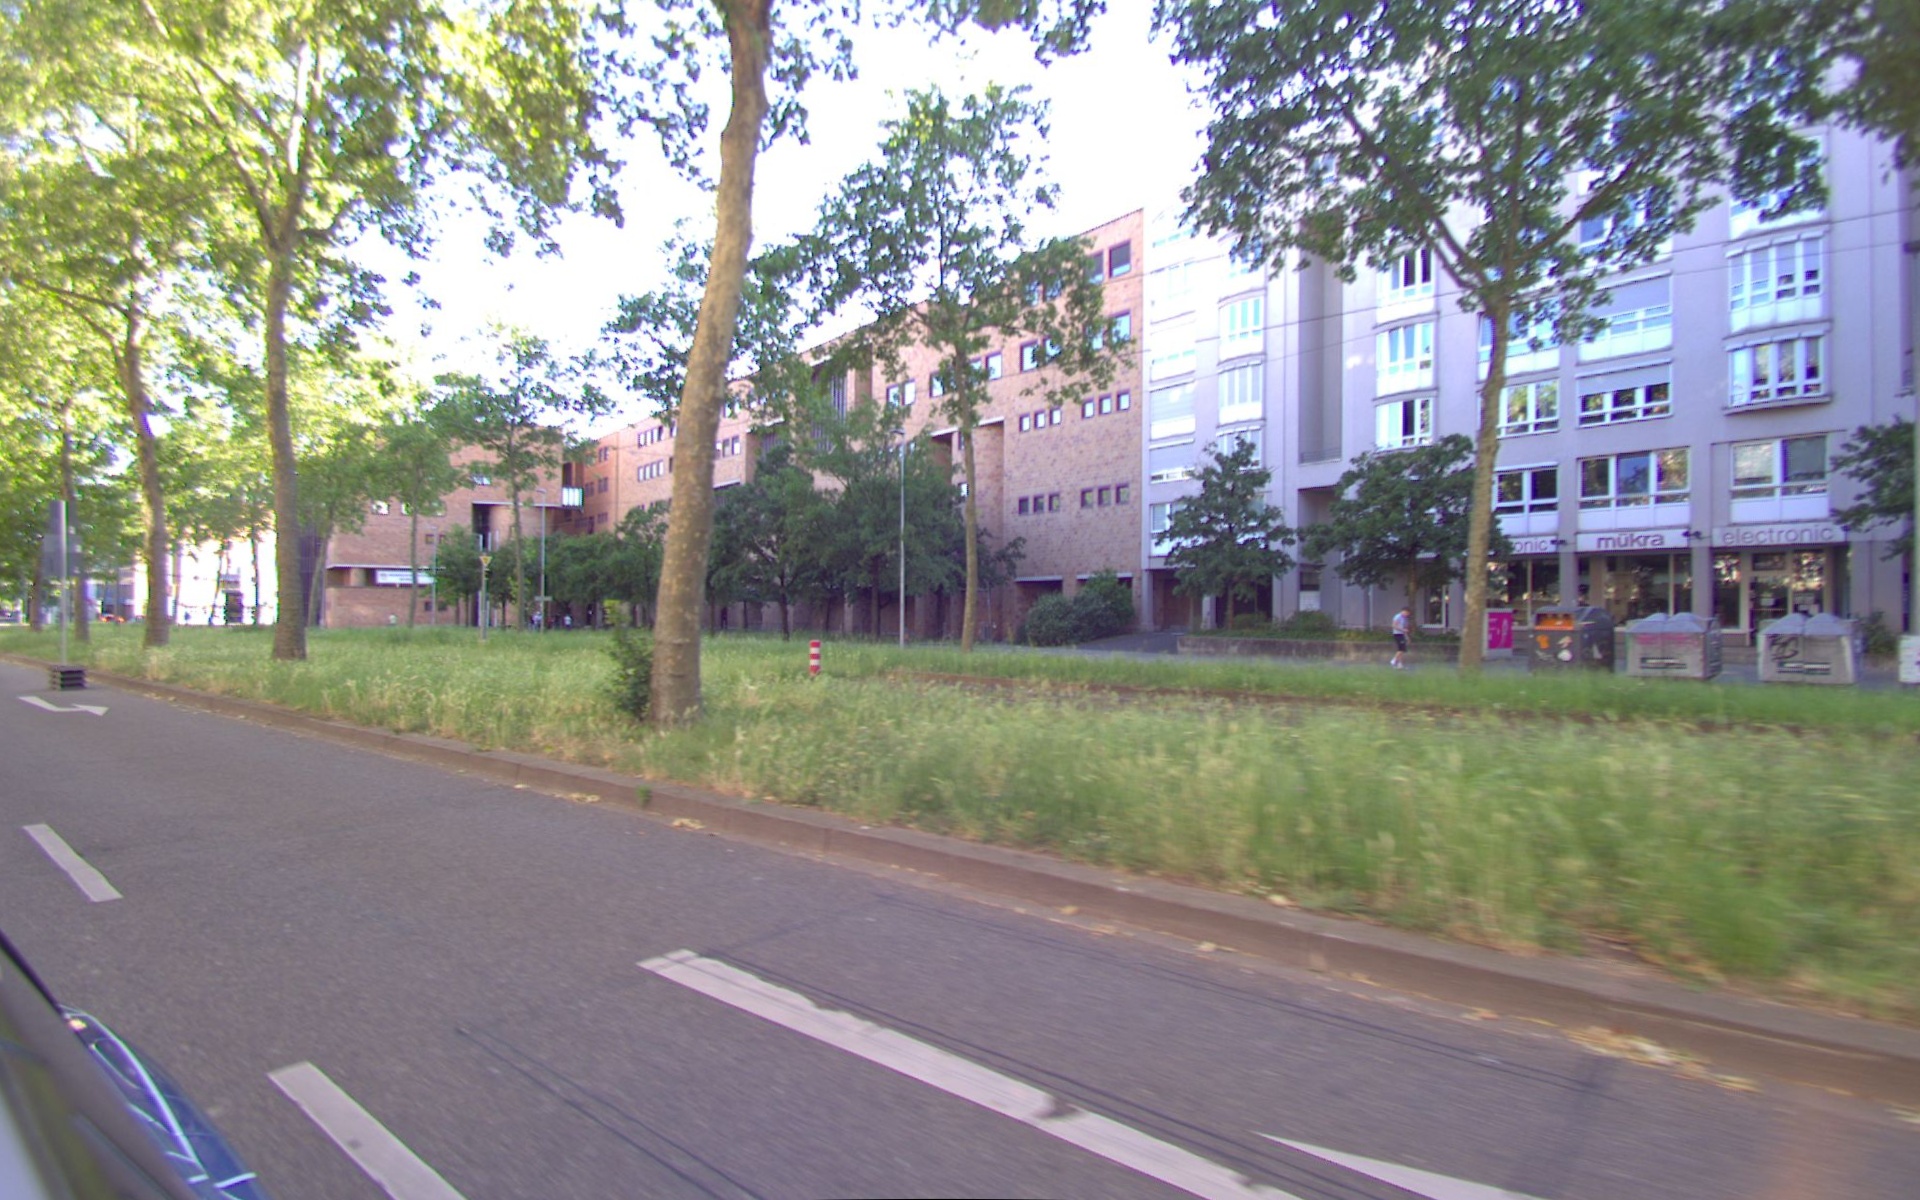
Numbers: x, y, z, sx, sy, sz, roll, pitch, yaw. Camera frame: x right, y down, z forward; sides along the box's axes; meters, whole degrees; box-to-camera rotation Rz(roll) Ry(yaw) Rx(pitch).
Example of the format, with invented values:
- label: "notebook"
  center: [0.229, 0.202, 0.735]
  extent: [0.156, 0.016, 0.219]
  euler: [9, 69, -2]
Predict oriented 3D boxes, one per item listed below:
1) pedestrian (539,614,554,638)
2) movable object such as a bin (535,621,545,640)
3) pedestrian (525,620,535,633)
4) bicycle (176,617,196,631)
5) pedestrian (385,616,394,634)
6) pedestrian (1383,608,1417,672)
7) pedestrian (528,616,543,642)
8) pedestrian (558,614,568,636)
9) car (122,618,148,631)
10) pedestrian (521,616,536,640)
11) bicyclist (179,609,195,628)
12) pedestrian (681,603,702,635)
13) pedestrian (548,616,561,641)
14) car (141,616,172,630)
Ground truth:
- label: "pedestrian"
  center: [-28.143, 1.748, 68.908]
  extent: [0.756, 1.629, 0.657]
  euler: [-1, -2, 41]
- label: "movable object such as a bin"
  center: [-28.174, 2.030, 67.860]
  extent: [0.756, 1.289, 0.352]
  euler: [-1, -2, 41]
- label: "pedestrian"
  center: [-39.950, 2.460, 94.056]
  extent: [0.628, 1.207, 0.659]
  euler: [-1, -1, 32]
- label: "bicycle"
  center: [-66.256, 2.031, 86.657]
  extent: [2.436, 1.134, 0.946]
  euler: [0, -1, 42]
- label: "pedestrian"
  center: [-49.041, 2.117, 86.963]
  extent: [0.652, 1.555, 0.412]
  euler: [-1, -2, 39]
- label: "pedestrian"
  center: [12.283, 1.107, 28.264]
  extent: [0.720, 1.753, 0.648]
  euler: [1, -2, -45]
- label: "pedestrian"
  center: [-28.716, 1.964, 68.433]
  extent: [0.796, 1.735, 0.657]
  euler: [-1, -2, 41]
- label: "pedestrian"
  center: [-27.226, 1.711, 69.427]
  extent: [0.463, 1.517, 0.477]
  euler: [-1, -2, 43]
- label: "car"
  center: [-89.786, 2.664, 110.122]
  extent: [3.219, 1.440, 1.596]
  euler: [-1, -2, 41]
- label: "pedestrian"
  center: [-29.641, 1.909, 69.467]
  extent: [0.756, 1.629, 0.657]
  euler: [-1, -2, 41]
- label: "bicyclist"
  center: [-66.075, 1.581, 86.503]
  extent: [1.209, 1.583, 0.931]
  euler: [-1, -2, 42]
- label: "pedestrian"
  center: [-15.464, 1.085, 58.349]
  extent: [0.901, 1.845, 0.815]
  euler: [-1, -2, 43]
- label: "pedestrian"
  center: [-27.823, 1.955, 69.408]
  extent: [0.596, 1.692, 0.604]
  euler: [-1, -2, 41]
- label: "car"
  center: [-81.714, 2.344, 102.894]
  extent: [4.147, 1.440, 1.653]
  euler: [-1, -2, 41]
